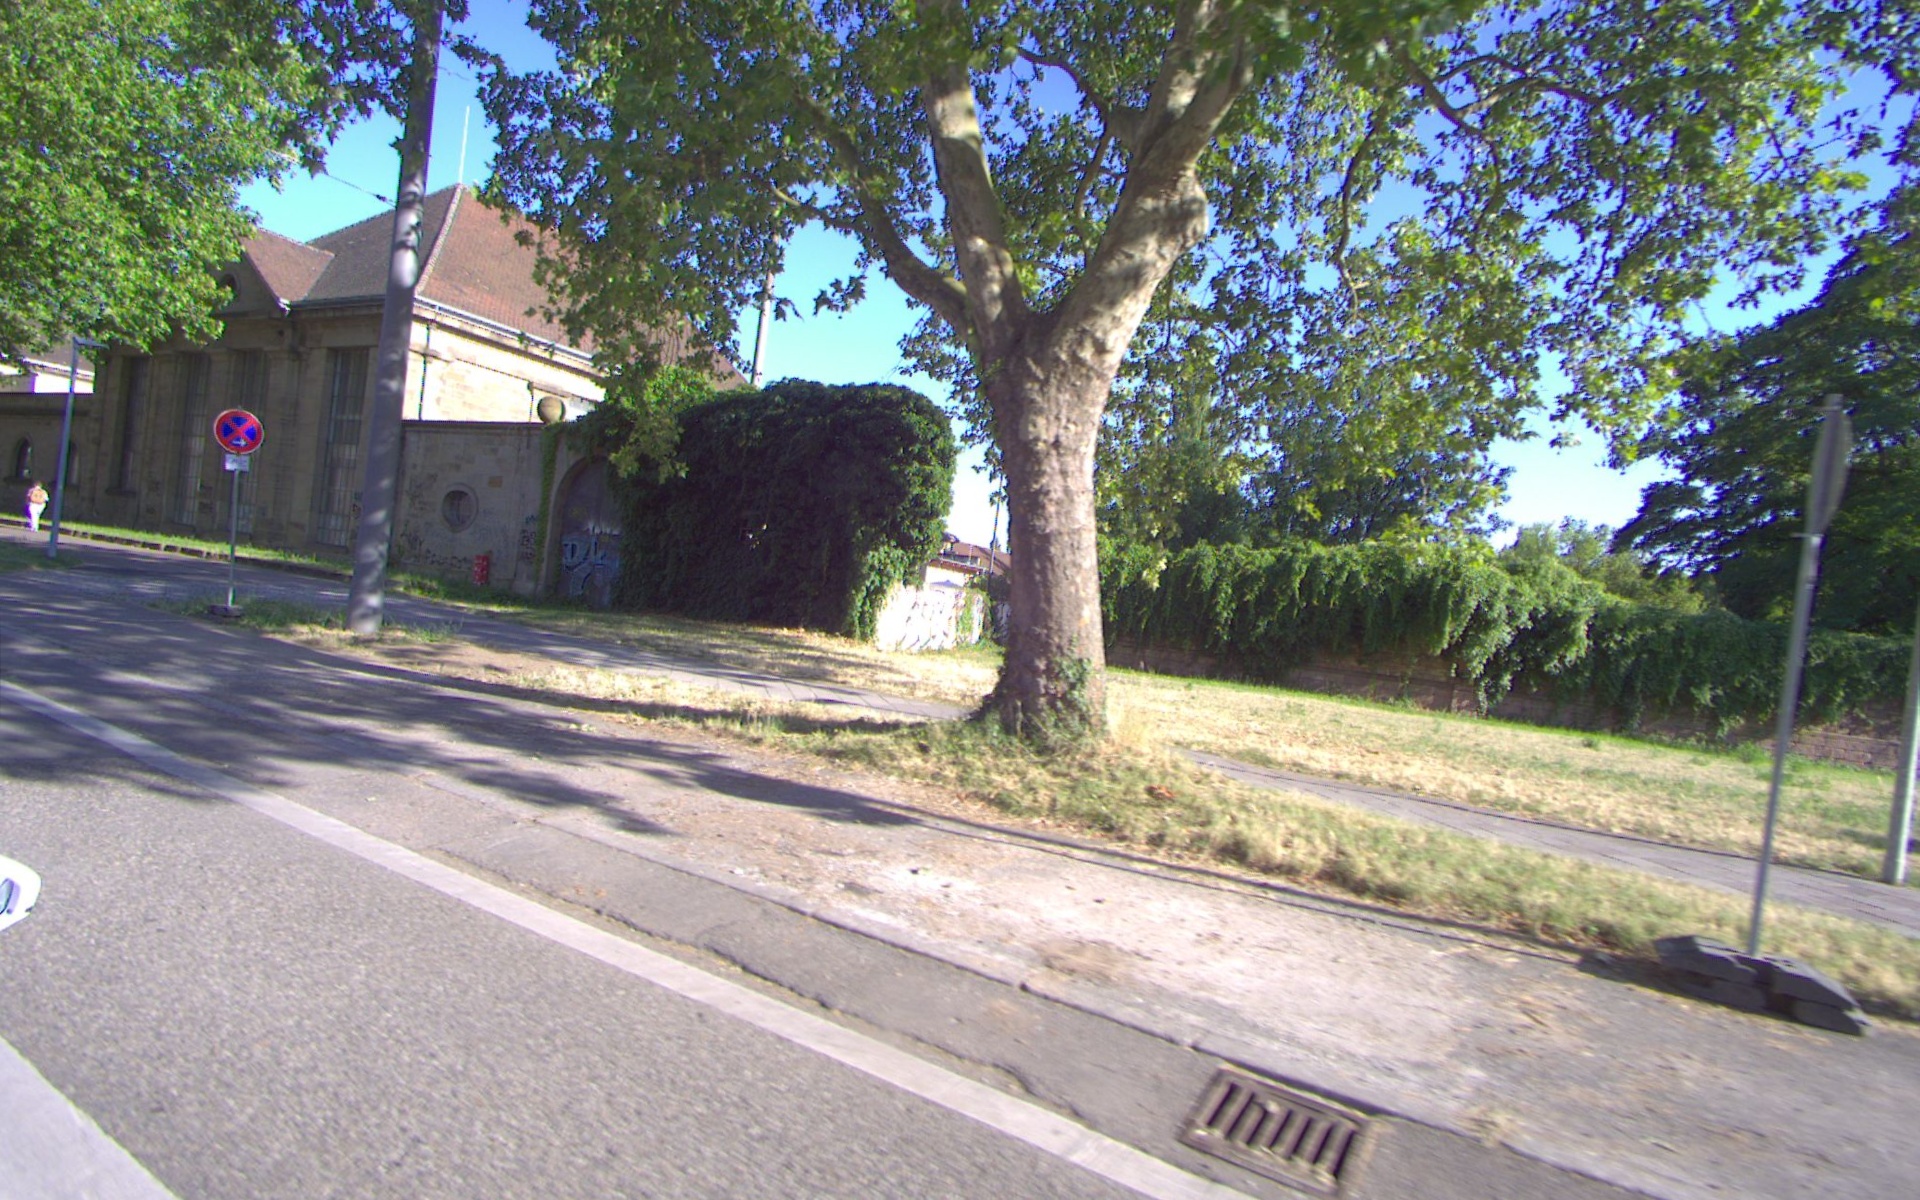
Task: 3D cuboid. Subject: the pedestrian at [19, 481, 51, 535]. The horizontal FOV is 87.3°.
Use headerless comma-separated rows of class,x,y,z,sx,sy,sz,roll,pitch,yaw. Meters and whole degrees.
pedestrian,-30.898,-3.069,33.613,0.625,1.705,0.608,7,5,28
